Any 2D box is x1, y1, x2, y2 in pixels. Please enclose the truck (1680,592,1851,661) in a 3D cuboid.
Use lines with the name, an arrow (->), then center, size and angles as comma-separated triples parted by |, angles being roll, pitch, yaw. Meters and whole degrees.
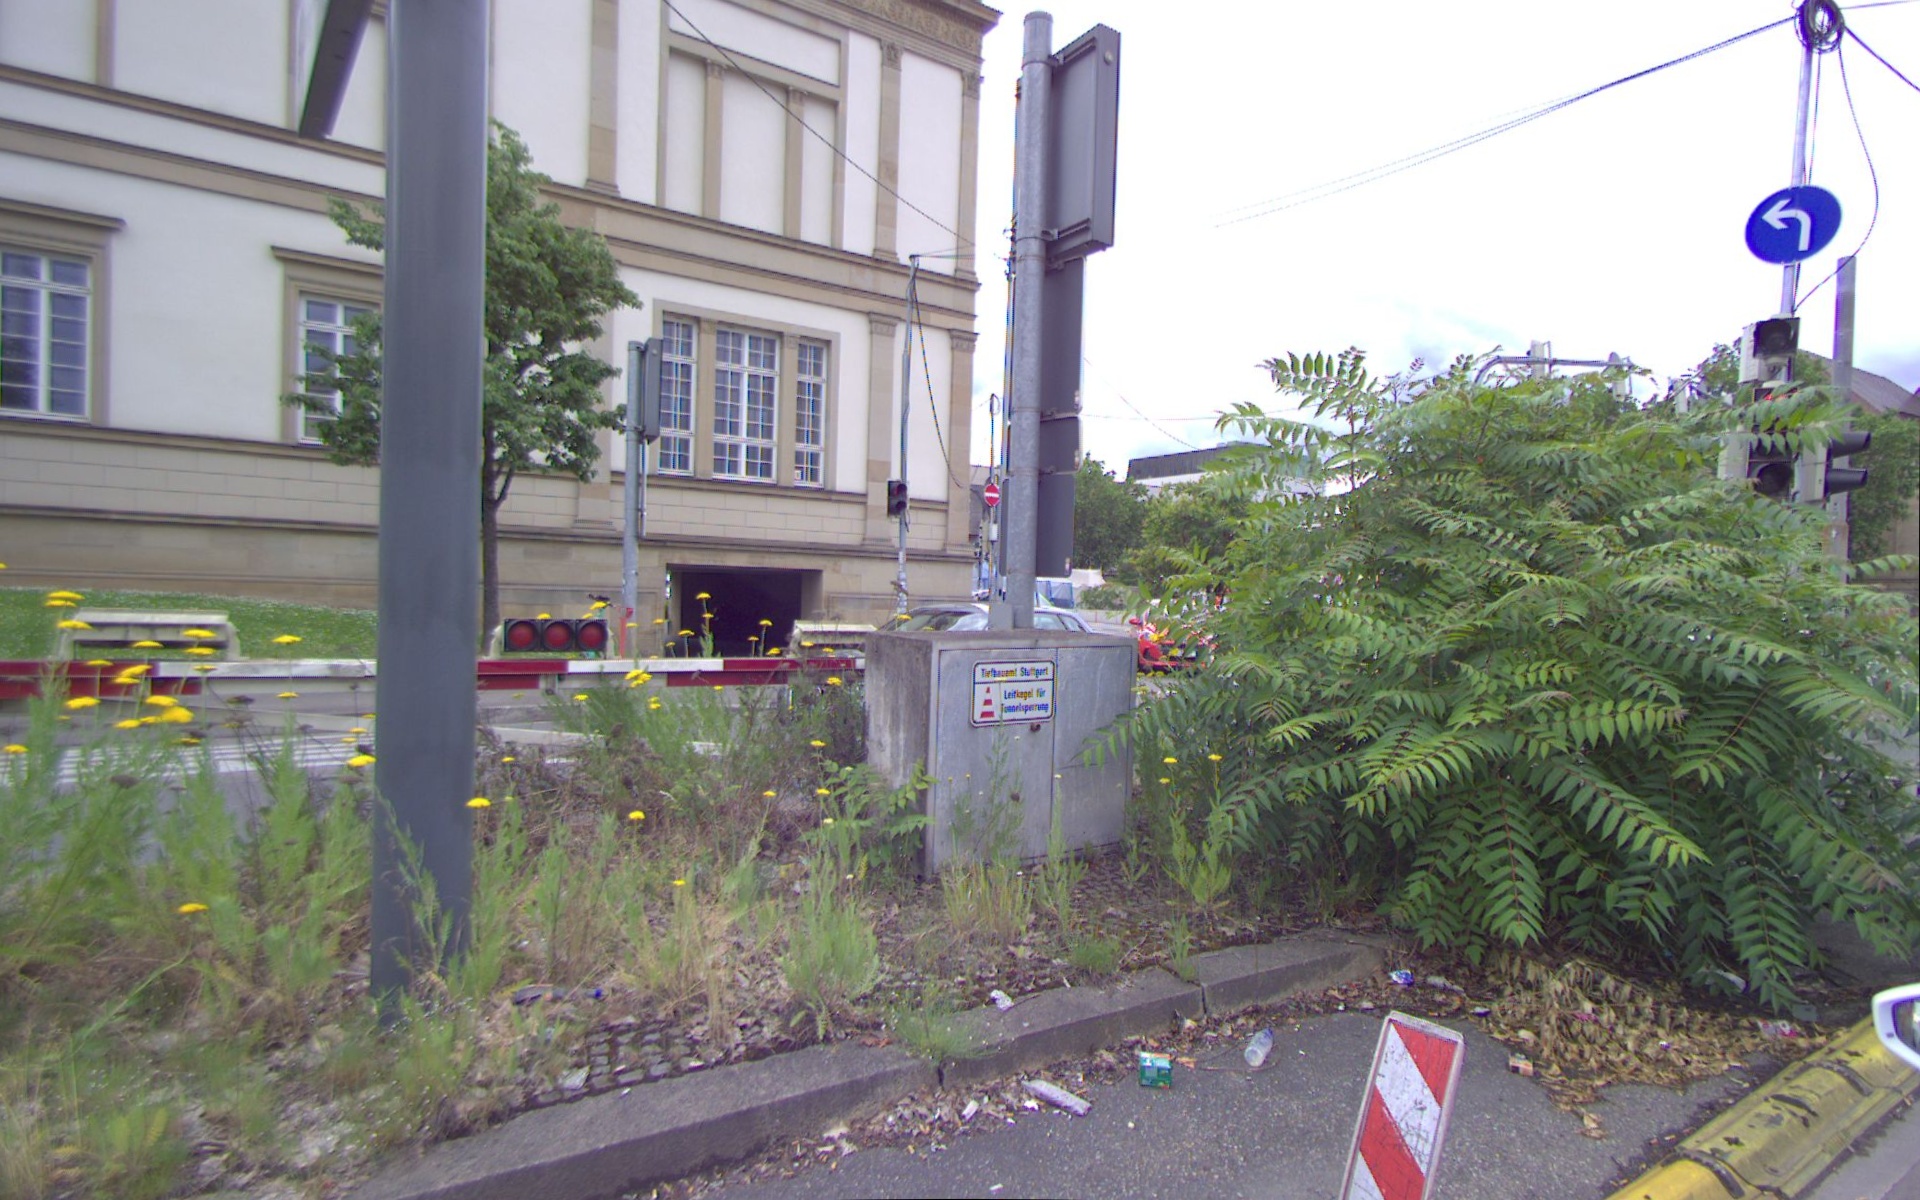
truck -> 40.038, 1.256, 50.190 | 6.499, 3.188, 2.358 | 2, 0, 38

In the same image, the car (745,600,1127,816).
car -> -0.052, 0.927, 10.339 | 1.805, 1.728, 3.984 | 2, 0, 38

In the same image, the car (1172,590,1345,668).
car -> 7.298, 0.669, 24.922 | 1.886, 1.763, 3.972 | 2, 0, -27

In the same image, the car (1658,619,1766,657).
car -> 40.178, 1.988, 53.817 | 4.506, 1.798, 1.993 | 2, 0, 36

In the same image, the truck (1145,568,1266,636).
truck -> 19.430, 0.116, 80.280 | 3.083, 5.026, 9.649 | 2, 0, -35

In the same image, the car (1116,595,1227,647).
car -> 8.042, 0.756, 38.446 | 1.889, 1.763, 3.964 | 2, 1, -32

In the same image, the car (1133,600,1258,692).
car -> 4.913, 0.879, 20.575 | 1.873, 1.630, 3.999 | 2, 0, 22

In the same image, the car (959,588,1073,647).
car -> 1.738, 0.537, 32.308 | 1.886, 1.763, 3.972 | 2, 0, -27
